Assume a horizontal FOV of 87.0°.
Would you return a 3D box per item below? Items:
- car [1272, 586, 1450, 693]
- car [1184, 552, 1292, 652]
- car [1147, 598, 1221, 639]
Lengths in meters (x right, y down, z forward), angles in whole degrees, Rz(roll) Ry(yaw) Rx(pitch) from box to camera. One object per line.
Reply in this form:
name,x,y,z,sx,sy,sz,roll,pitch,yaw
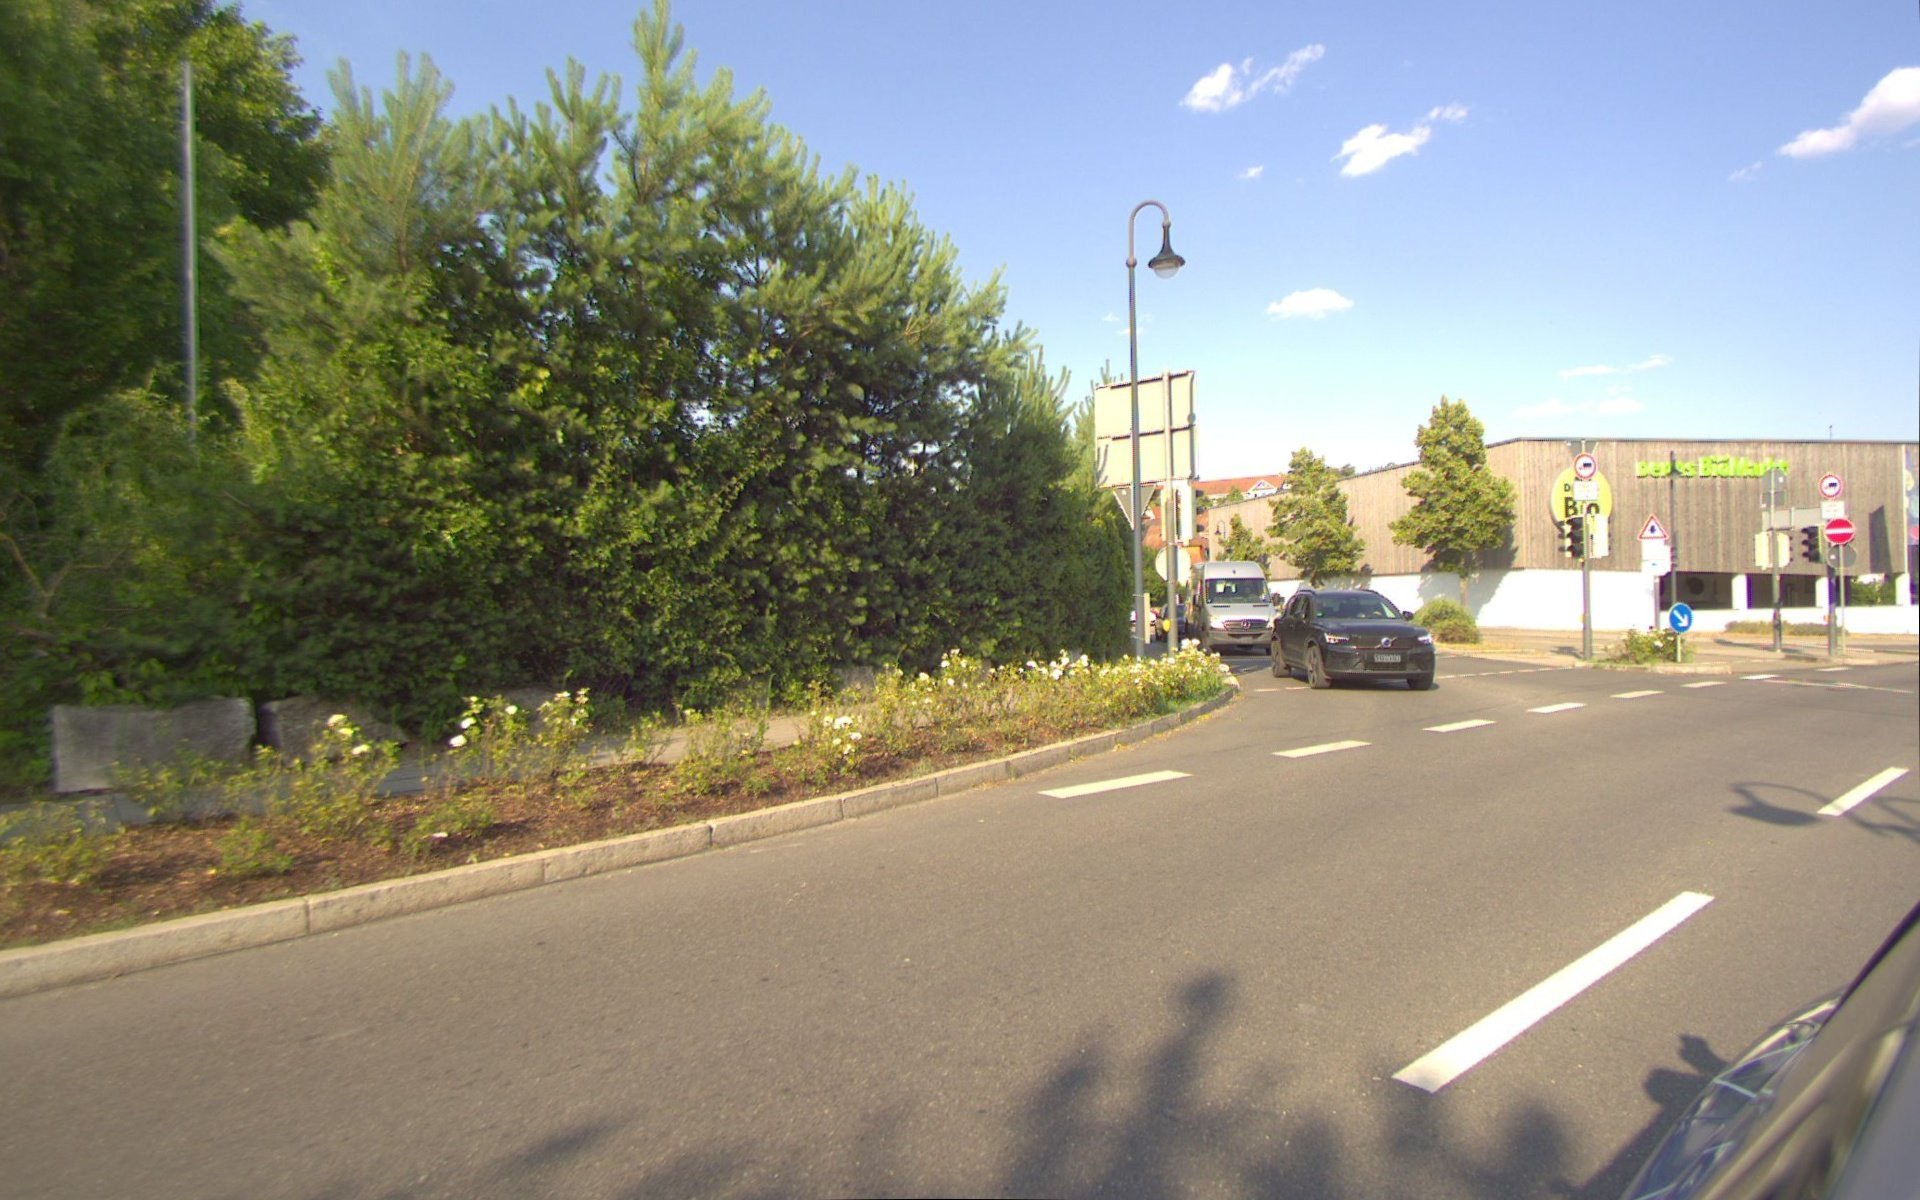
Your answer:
car,6.715,0.566,17.438,1.761,1.586,4.264,0,1,6
car,7.799,0.011,29.008,2.157,2.553,5.848,0,1,7
car,8.648,0.666,39.355,1.822,1.471,4.002,0,1,-2
